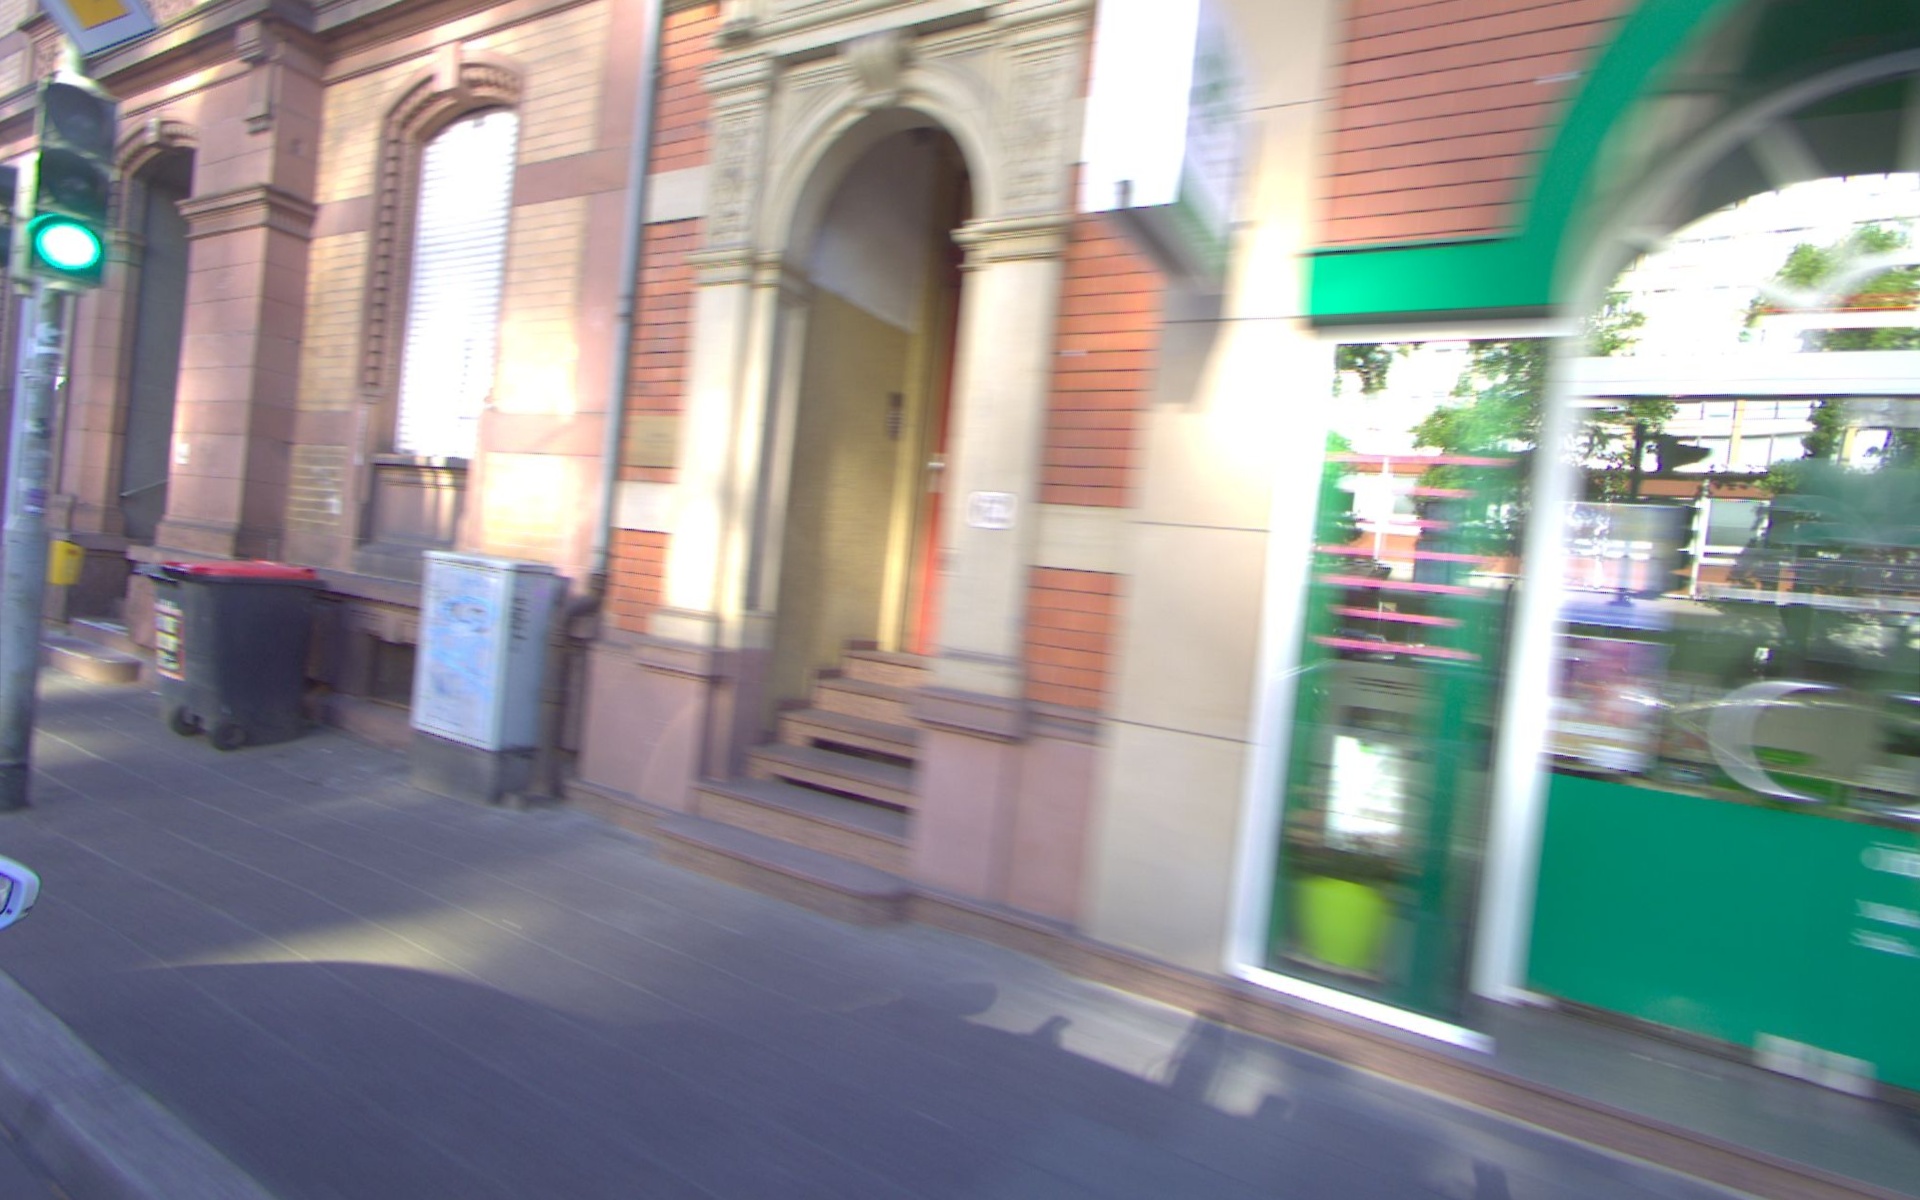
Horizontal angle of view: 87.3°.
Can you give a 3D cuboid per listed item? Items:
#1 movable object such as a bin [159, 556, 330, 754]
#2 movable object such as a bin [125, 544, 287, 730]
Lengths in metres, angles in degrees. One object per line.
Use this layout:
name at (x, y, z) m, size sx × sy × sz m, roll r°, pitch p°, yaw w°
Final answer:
movable object such as a bin at (-4.363, 0.314, 6.145) m, size 0.581 × 1.087 × 0.662 m, roll 7°, pitch 4°, yaw 33°
movable object such as a bin at (-4.833, 0.221, 6.460) m, size 0.536 × 1.087 × 0.662 m, roll 7°, pitch 4°, yaw 33°
